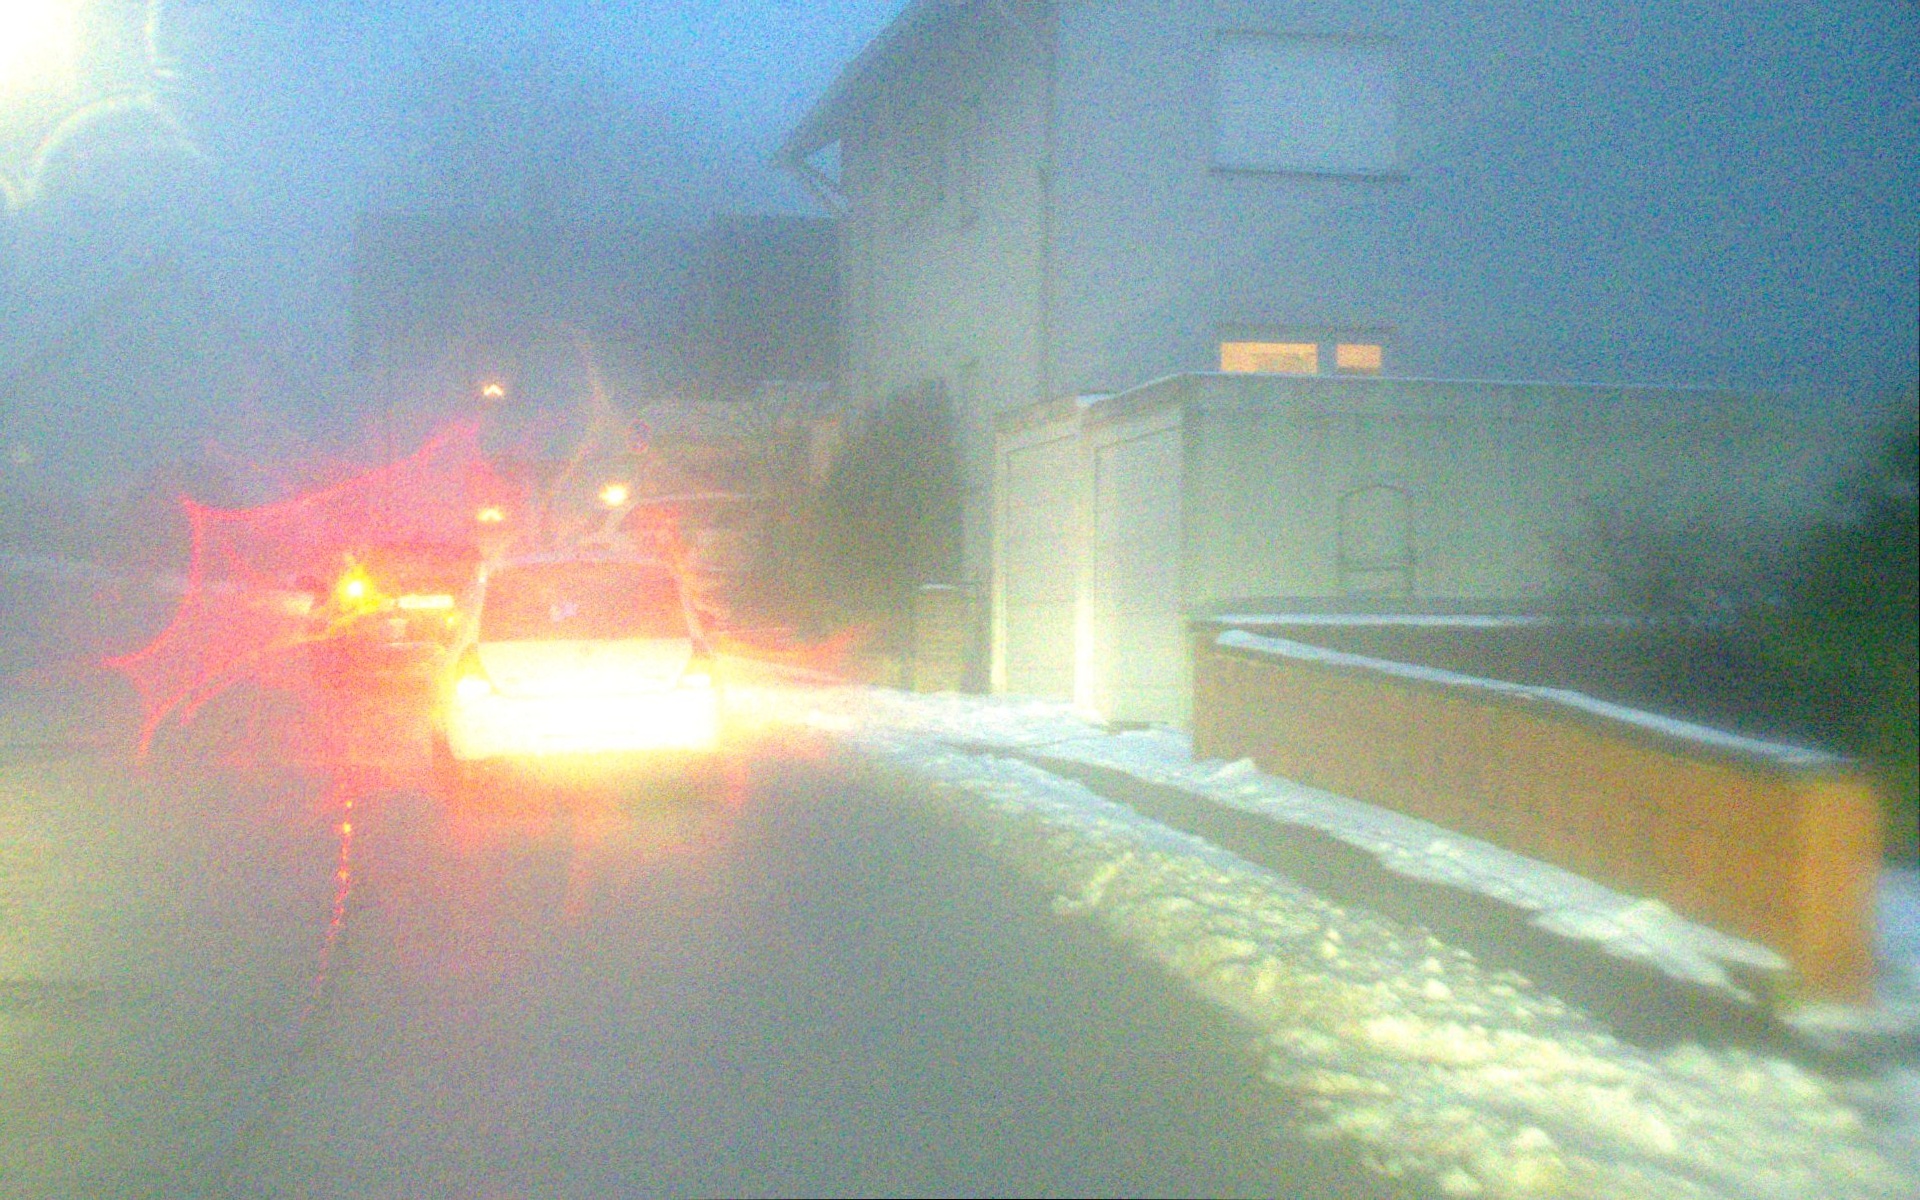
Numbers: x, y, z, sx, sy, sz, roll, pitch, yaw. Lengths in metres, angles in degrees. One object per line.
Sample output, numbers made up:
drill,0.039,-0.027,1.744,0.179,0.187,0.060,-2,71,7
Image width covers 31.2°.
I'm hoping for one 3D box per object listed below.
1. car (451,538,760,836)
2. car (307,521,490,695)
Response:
car,-2.183,0.507,20.813,1.645,1.590,3.700,2,-1,-7
car,-5.636,0.097,34.227,1.645,1.590,3.700,2,-1,-11
